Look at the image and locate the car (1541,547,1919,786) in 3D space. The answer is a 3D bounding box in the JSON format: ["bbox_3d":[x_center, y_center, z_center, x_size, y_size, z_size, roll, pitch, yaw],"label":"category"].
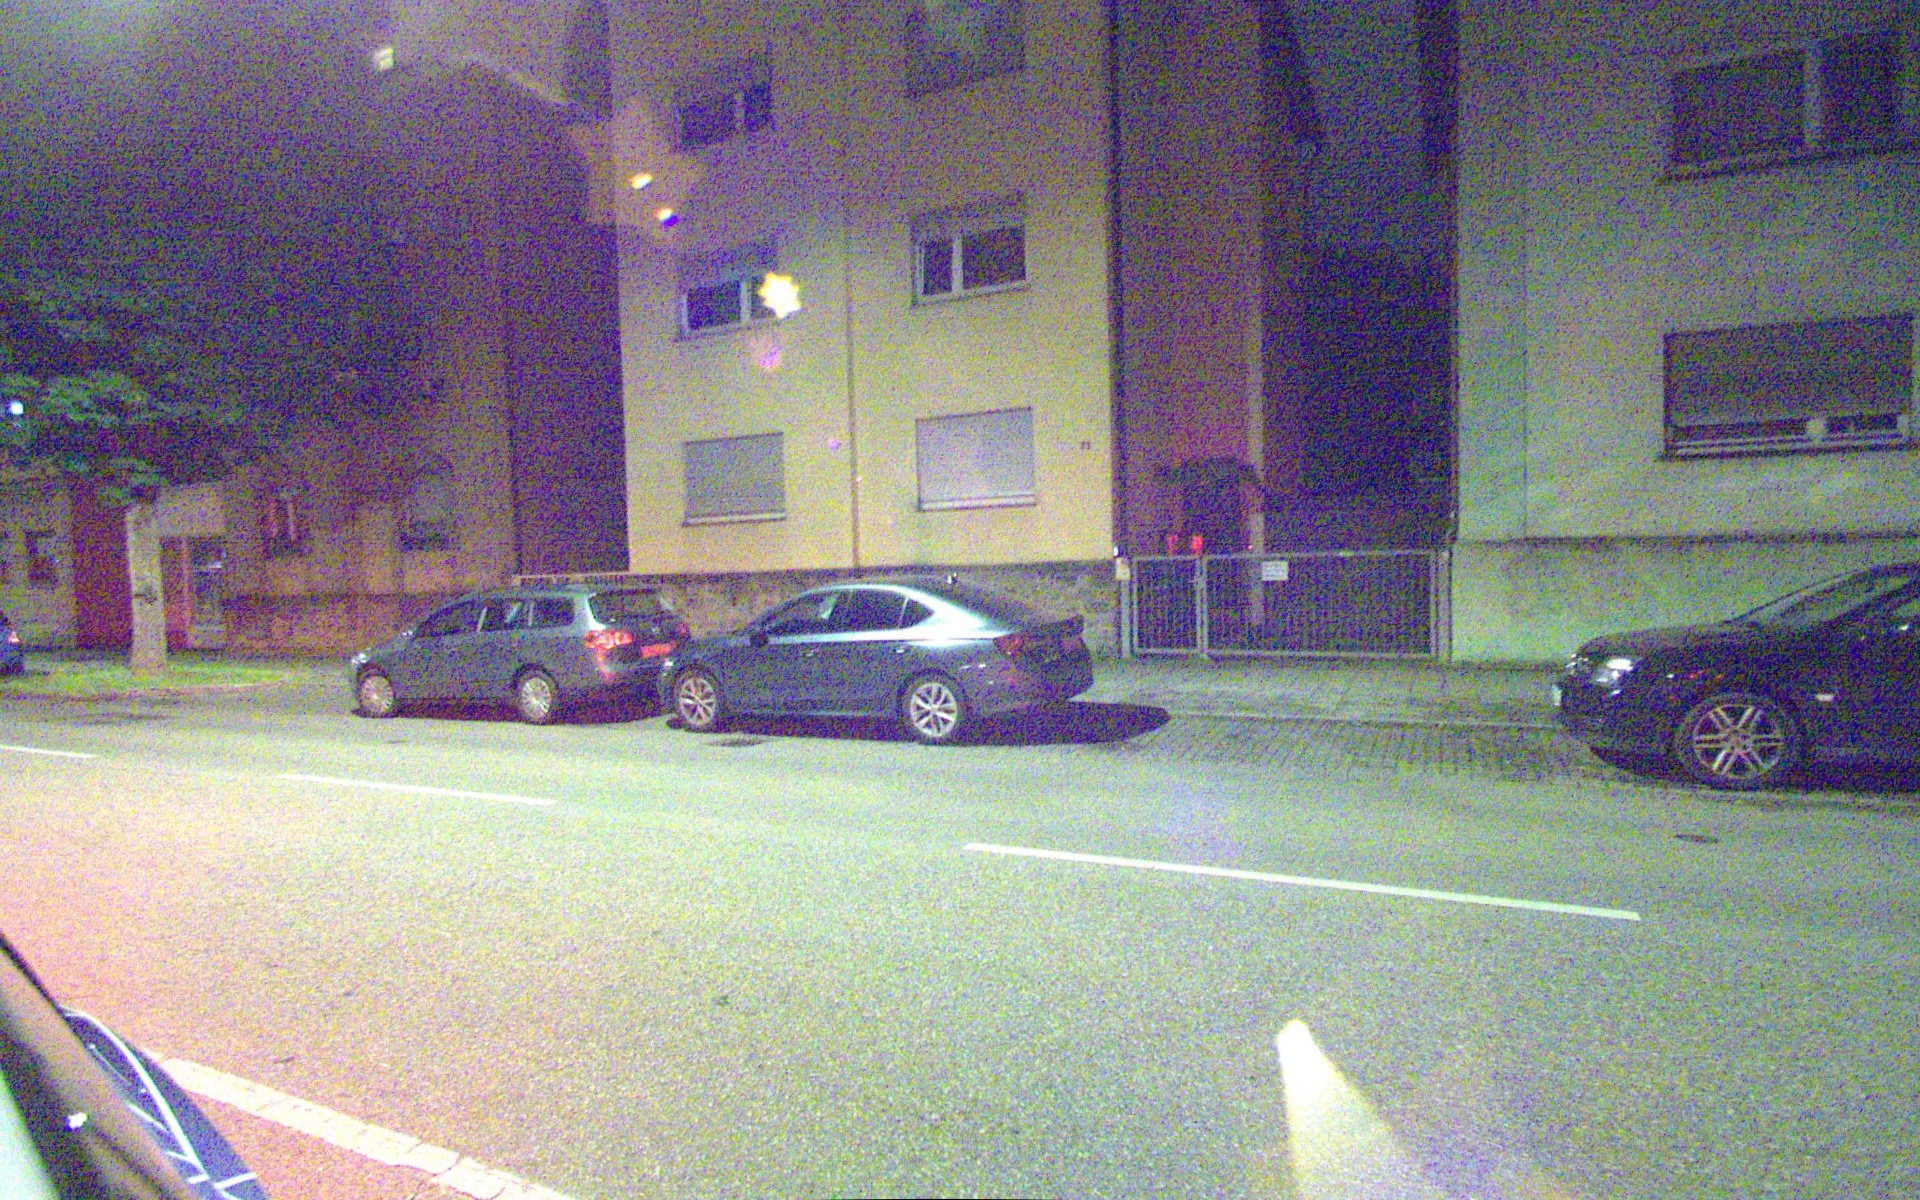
[{"bbox_3d":[6.355,0.362,6.428,4.424,1.393,1.615,-1,1,24],"label":"car"}]

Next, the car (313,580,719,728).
[{"bbox_3d":[-5.366,0.572,12.150,4.740,1.497,1.759,-1,1,25],"label":"car"}]

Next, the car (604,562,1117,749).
[{"bbox_3d":[-1.045,0.462,9.985,4.837,1.497,1.759,-1,1,26],"label":"car"}]

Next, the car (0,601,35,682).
[{"bbox_3d":[-19.986,0.838,19.583,3.968,1.505,1.705,-1,2,26],"label":"car"}]
